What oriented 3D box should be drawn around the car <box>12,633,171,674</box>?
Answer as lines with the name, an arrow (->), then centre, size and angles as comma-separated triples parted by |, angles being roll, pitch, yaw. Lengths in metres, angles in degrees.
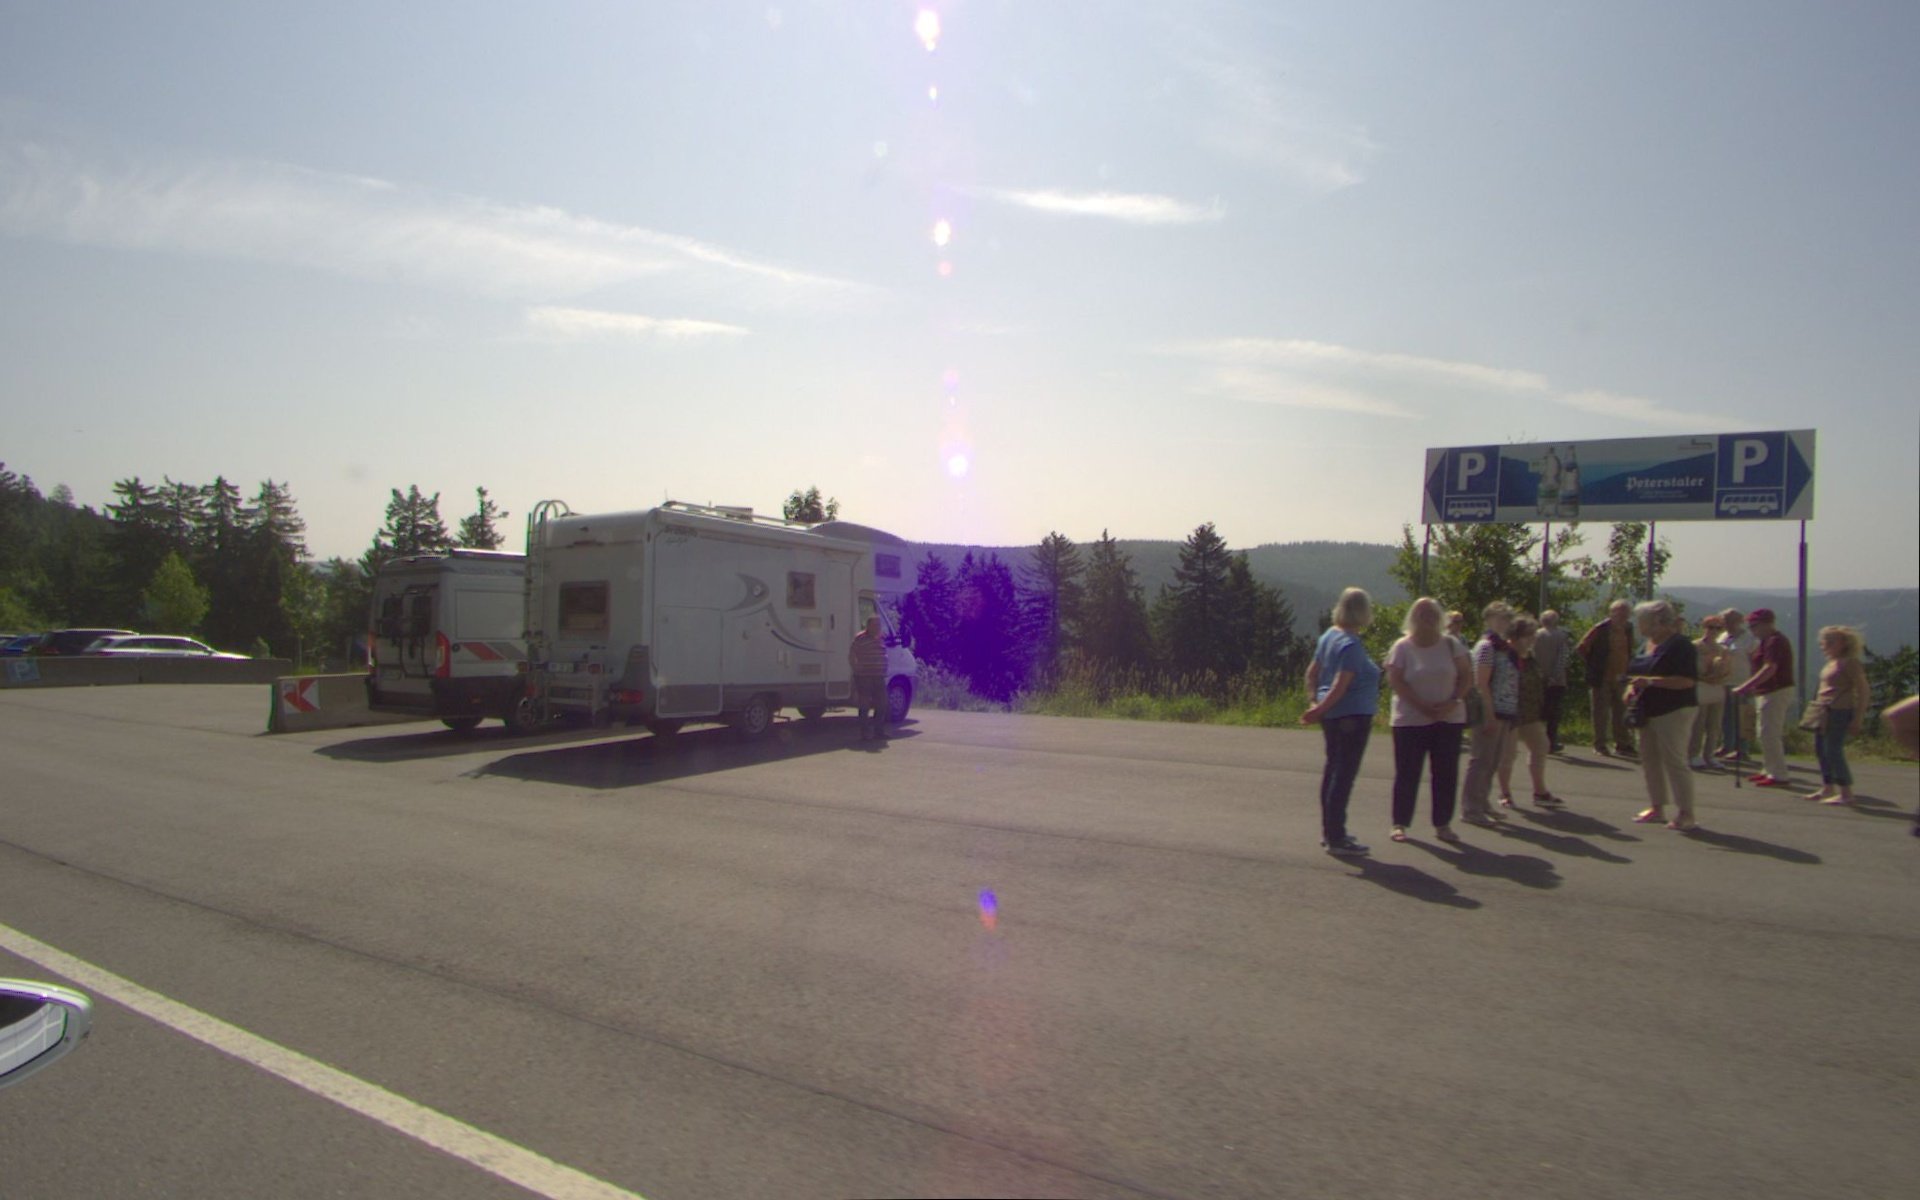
car -> -31.464, 1.898, 36.377 | 1.959, 1.370, 3.979 | -1, -2, 33

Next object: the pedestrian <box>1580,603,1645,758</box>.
pedestrian -> 7.520, 0.902, 11.542 | 0.626, 1.719, 0.504 | 0, 0, -43

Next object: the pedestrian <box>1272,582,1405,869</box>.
pedestrian -> 2.510, 0.784, 6.646 | 0.626, 1.781, 0.622 | 0, 0, -43

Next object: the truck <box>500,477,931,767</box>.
truck -> -3.112, 0.301, 14.437 | 2.496, 3.237, 6.053 | -1, -1, 31

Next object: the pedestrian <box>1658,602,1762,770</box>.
pedestrian -> 7.915, 0.886, 10.585 | 0.616, 1.719, 0.632 | 0, 0, -8

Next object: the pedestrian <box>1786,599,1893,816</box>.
pedestrian -> 7.354, 0.855, 8.374 | 0.626, 1.719, 0.622 | 0, 0, -43

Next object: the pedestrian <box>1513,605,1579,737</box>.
pedestrian -> 7.871, 0.928, 13.444 | 0.626, 1.719, 0.622 | 0, 0, -43

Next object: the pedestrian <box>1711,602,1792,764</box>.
pedestrian -> 8.766, 0.891, 11.097 | 0.626, 1.719, 0.622 | 0, 0, -43

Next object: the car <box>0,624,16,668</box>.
car -> -41.014, 1.876, 40.172 | 1.865, 1.816, 4.258 | -1, -2, 31

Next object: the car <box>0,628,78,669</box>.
car -> -37.679, 1.893, 39.692 | 1.575, 1.587, 3.750 | -1, -2, 28

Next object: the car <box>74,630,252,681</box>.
car -> -24.970, 1.749, 31.511 | 1.747, 1.494, 3.983 | -1, -3, 31

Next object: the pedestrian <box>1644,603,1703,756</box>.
pedestrian -> 8.238, 0.899, 11.564 | 0.463, 1.719, 0.480 | 0, 0, -43

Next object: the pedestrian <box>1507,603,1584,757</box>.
pedestrian -> 6.806, 0.905, 11.636 | 0.626, 1.719, 0.622 | 0, 0, -43

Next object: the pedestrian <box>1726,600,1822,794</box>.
pedestrian -> 7.595, 0.869, 9.340 | 0.626, 1.719, 0.622 | 0, 0, -43

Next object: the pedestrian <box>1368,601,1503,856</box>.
pedestrian -> 3.318, 0.851, 7.004 | 0.623, 1.672, 0.624 | 0, 0, -33

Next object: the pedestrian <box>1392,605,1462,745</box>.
pedestrian -> 5.919, 0.924, 12.705 | 0.626, 1.719, 0.622 | 0, 0, -43

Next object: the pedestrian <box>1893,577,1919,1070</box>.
pedestrian -> 3.481, 0.720, 3.253 | 0.626, 1.587, 0.622 | 0, 0, -43

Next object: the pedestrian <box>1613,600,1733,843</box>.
pedestrian -> 5.303, 0.858, 7.453 | 0.626, 1.701, 0.622 | 0, 0, -43

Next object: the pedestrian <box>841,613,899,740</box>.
pedestrian -> -1.215, 1.004, 13.450 | 0.636, 1.662, 0.630 | 0, 0, -19

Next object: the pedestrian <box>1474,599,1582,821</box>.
pedestrian -> 4.664, 0.862, 8.228 | 0.626, 1.719, 0.622 | 0, 0, -43

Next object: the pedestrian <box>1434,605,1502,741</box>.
pedestrian -> 6.642, 0.928, 13.096 | 0.626, 1.719, 0.622 | 0, 0, -43

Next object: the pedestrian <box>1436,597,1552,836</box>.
pedestrian -> 4.075, 0.844, 7.644 | 0.626, 1.720, 0.622 | 0, 0, -43

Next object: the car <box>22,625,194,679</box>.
car -> -27.897, 1.729, 32.927 | 1.577, 1.667, 3.985 | -1, -4, 30

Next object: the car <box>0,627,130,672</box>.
car -> -34.659, 1.851, 38.403 | 1.779, 1.556, 3.982 | 3, 0, 30

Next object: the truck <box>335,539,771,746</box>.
truck -> -6.054, 0.576, 15.939 | 2.308, 2.625, 6.246 | 0, 0, 34
